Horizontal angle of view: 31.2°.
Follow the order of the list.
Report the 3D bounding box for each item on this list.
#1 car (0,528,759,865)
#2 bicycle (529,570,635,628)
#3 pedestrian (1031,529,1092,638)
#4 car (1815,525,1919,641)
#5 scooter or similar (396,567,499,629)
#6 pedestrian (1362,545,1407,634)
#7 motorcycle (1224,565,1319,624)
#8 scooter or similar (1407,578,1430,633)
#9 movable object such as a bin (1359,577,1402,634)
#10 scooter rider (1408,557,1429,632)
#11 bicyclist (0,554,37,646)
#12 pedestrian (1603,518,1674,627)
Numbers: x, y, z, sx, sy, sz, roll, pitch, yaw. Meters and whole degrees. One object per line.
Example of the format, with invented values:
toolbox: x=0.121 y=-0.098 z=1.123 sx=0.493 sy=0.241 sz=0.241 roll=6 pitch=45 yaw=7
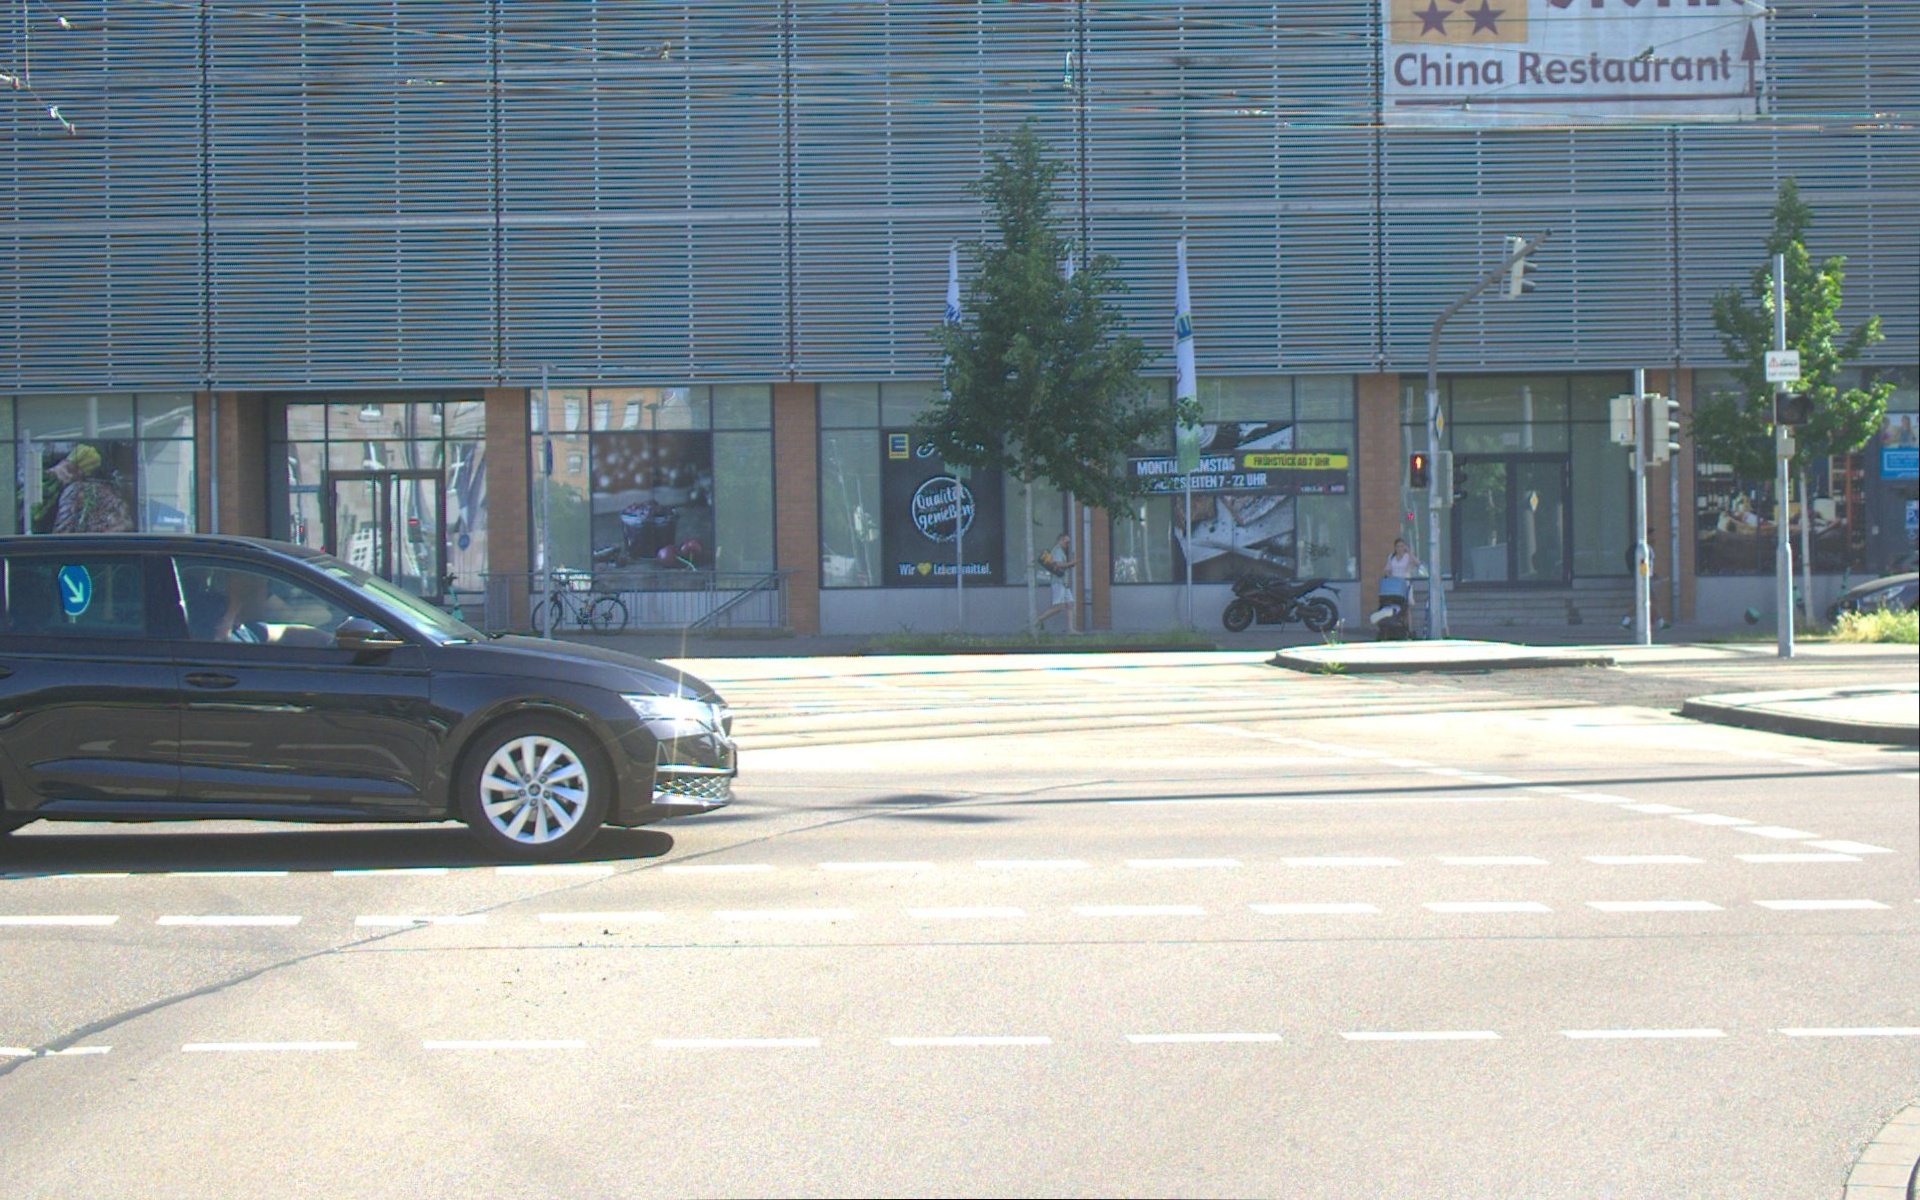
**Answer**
car: x=-3.296 y=0.402 z=15.860 sx=4.668 sy=1.457 sz=1.834 roll=0 pitch=1 yaw=-5
bicycle: x=-6.652 y=-0.015 z=60.544 sx=1.815 sy=0.986 sz=0.558 roll=-1 pitch=2 yaw=-10
pedestrian: x=1.762 y=-0.280 z=59.606 sx=0.950 sy=1.822 sz=0.845 roll=-2 pitch=-3 yaw=5
car: x=13.752 y=-0.140 z=45.848 sx=4.146 sy=1.464 sz=1.841 roll=3 pitch=0 yaw=-1
scooter or similar: x=-9.081 y=-0.045 z=60.927 sx=1.792 sy=1.062 sz=0.613 roll=0 pitch=2 yaw=-8
pedestrian: x=6.828 y=-0.174 z=55.270 sx=0.655 sy=1.409 sz=0.849 roll=1 pitch=0 yaw=10
motorcycle: x=5.492 y=-0.099 z=60.637 sx=1.640 sy=1.001 sz=0.446 roll=1 pitch=1 yaw=6
scooter or similar: x=7.348 y=0.078 z=55.093 sx=0.295 sy=0.870 sz=1.003 roll=1 pitch=0 yaw=10
movable object such as a bin: x=6.710 y=0.081 z=54.809 sx=0.613 sy=0.901 sz=0.968 roll=1 pitch=0 yaw=10
scooter rider: x=7.342 y=-0.085 z=55.030 sx=0.288 sy=1.196 sz=0.385 roll=1 pitch=0 yaw=10
bicyclist: x=-15.282 y=0.002 z=54.782 sx=0.675 sy=1.422 sz=0.847 roll=1 pitch=3 yaw=43
pedestrian: x=11.661 y=-0.481 z=59.123 sx=1.012 sy=1.822 sz=1.035 roll=-2 pitch=1 yaw=3
